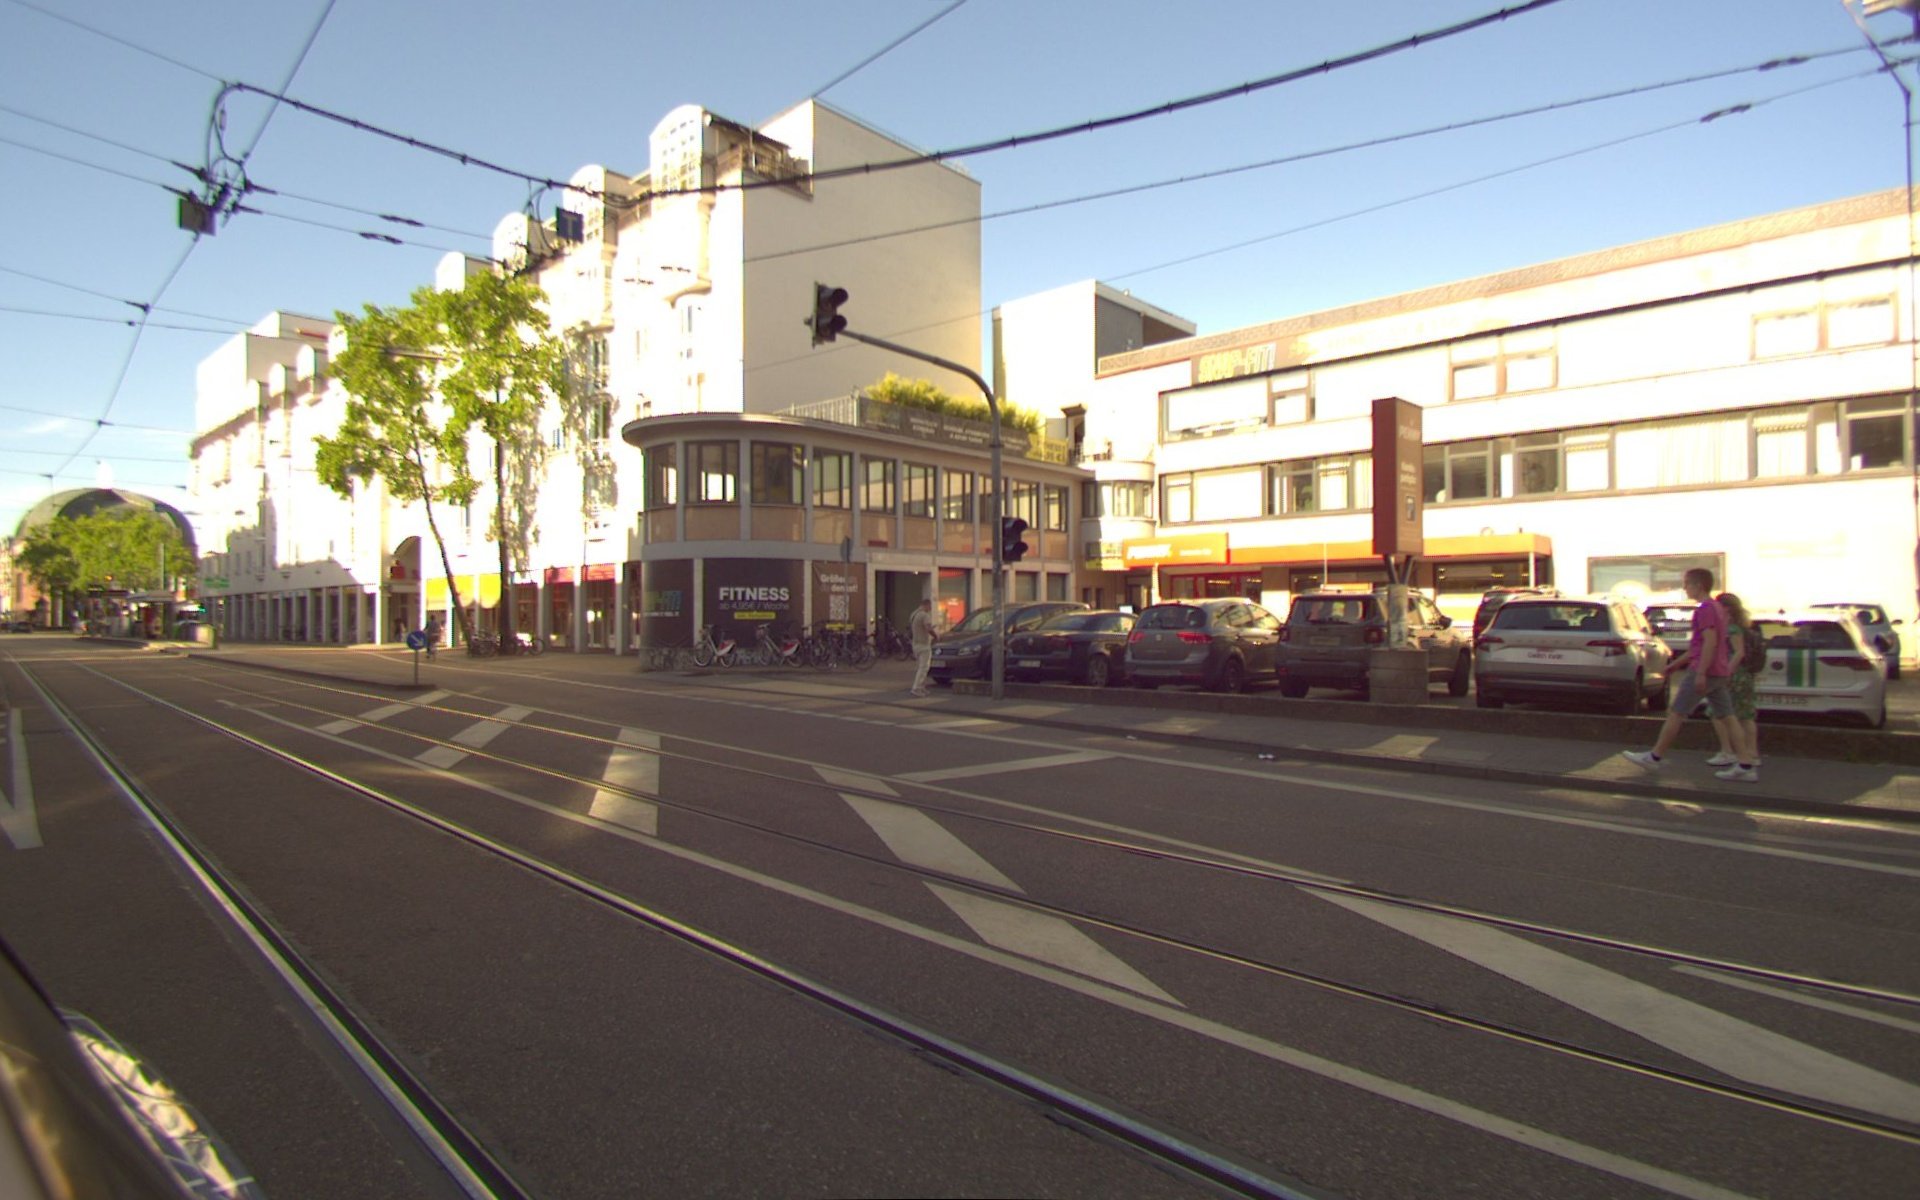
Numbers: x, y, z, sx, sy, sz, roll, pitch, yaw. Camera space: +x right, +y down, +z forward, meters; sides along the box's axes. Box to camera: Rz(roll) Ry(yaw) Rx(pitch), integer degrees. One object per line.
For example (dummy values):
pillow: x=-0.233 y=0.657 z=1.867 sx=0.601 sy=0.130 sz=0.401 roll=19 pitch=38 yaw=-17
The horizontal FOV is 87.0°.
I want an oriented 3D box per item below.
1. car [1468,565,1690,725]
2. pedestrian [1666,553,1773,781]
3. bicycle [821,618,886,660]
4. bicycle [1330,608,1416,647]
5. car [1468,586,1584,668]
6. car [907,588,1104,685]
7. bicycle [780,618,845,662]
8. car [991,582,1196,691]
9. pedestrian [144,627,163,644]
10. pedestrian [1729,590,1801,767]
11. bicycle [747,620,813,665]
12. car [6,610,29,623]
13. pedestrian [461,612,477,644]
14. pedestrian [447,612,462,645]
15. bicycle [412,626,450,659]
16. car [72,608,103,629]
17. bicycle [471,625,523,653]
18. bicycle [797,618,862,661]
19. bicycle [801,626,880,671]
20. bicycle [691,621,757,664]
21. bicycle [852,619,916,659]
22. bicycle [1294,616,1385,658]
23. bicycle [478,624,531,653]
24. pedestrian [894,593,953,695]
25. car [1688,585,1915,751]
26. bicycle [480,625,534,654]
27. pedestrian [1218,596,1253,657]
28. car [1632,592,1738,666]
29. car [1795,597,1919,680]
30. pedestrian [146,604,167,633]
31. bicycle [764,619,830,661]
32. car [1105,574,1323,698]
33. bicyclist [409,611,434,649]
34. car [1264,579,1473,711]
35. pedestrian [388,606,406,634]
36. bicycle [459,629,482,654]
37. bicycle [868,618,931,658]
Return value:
car: x=8.478 y=0.542 z=13.695 sx=1.785 sy=1.825 sz=4.187 roll=2 pitch=0 yaw=42
pedestrian: x=6.913 y=0.584 z=9.213 sx=0.709 sy=1.961 sz=0.631 roll=-1 pitch=-1 yaw=41
bicycle: x=-2.850 y=1.033 z=27.025 sx=1.874 sy=1.085 sz=0.459 roll=-1 pitch=-1 yaw=34
bicycle: x=10.934 y=0.718 z=26.835 sx=2.061 sy=1.022 sz=0.499 roll=-1 pitch=-1 yaw=40
car: x=13.203 y=0.598 z=23.528 sx=1.695 sy=1.762 sz=3.541 roll=-1 pitch=-1 yaw=40
car: x=1.022 y=0.674 z=20.830 sx=1.785 sy=1.777 sz=4.188 roll=-1 pitch=0 yaw=42
bicycle: x=-3.798 y=1.020 z=25.990 sx=1.875 sy=1.095 sz=0.459 roll=-1 pitch=-1 yaw=35
car: x=2.623 y=0.629 z=19.164 sx=1.785 sy=1.825 sz=4.188 roll=-1 pitch=-1 yaw=42
pedestrian: x=-48.747 y=2.116 z=61.177 sx=0.747 sy=0.996 sz=0.784 roll=-1 pitch=-1 yaw=43
pedestrian: x=7.731 y=0.727 z=9.721 sx=0.499 sy=1.629 sz=0.566 roll=-1 pitch=-1 yaw=41
bicycle: x=-4.496 y=1.044 z=25.217 sx=1.875 sy=1.088 sz=0.459 roll=-1 pitch=-1 yaw=35
car: x=-121.846 y=2.170 z=130.838 sx=4.000 sy=1.630 sz=1.972 roll=-2 pitch=-1 yaw=43
pedestrian: x=-25.167 y=1.434 z=51.868 sx=0.523 sy=1.657 sz=0.556 roll=-1 pitch=-1 yaw=43
pedestrian: x=-25.610 y=1.445 z=51.278 sx=0.523 sy=1.657 sz=0.556 roll=-1 pitch=-1 yaw=43
bicycle: x=-19.256 y=1.542 z=36.814 sx=2.003 sy=1.132 sz=0.557 roll=-1 pitch=1 yaw=42
car: x=-88.551 y=1.883 z=102.674 sx=3.998 sy=2.029 sz=1.860 roll=-3 pitch=-1 yaw=41
bicycle: x=-18.470 y=1.539 z=40.399 sx=1.849 sy=1.085 sz=0.465 roll=1 pitch=-1 yaw=-39
bicycle: x=-3.412 y=1.022 z=26.456 sx=1.875 sy=1.085 sz=0.459 roll=-1 pitch=-1 yaw=35
bicycle: x=-2.884 y=1.158 z=24.488 sx=1.847 sy=1.044 sz=0.427 roll=0 pitch=-1 yaw=-22
bicycle: x=-5.973 y=1.058 z=25.593 sx=1.875 sy=1.044 sz=0.519 roll=-1 pitch=-1 yaw=35
bicycle: x=-2.110 y=1.061 z=27.907 sx=1.874 sy=1.085 sz=0.459 roll=-1 pitch=-1 yaw=34
bicycle: x=9.467 y=0.906 z=25.305 sx=2.061 sy=1.022 sz=0.504 roll=-1 pitch=-1 yaw=40
bicycle: x=-17.820 y=1.510 z=39.602 sx=1.849 sy=1.085 sz=0.465 roll=1 pitch=-1 yaw=-39
pedestrian: x=-0.648 y=0.775 z=18.143 sx=0.778 sy=1.777 sz=0.707 roll=-1 pitch=-1 yaw=36
car: x=10.077 y=0.684 z=12.065 sx=1.785 sy=1.621 sz=4.188 roll=-1 pitch=-1 yaw=42
bicycle: x=-17.536 y=1.501 z=39.164 sx=1.849 sy=1.085 sz=0.465 roll=1 pitch=-1 yaw=-39
pedestrian: x=7.528 y=0.714 z=27.623 sx=0.691 sy=1.646 sz=0.631 roll=-1 pitch=-2 yaw=42
car: x=16.210 y=0.628 z=22.566 sx=1.626 sy=1.493 sz=3.599 roll=2 pitch=0 yaw=40
car: x=17.798 y=0.710 z=20.188 sx=1.695 sy=1.490 sz=3.541 roll=-1 pitch=-1 yaw=40
pedestrian: x=-46.066 y=1.073 z=58.022 sx=0.748 sy=1.657 sz=0.784 roll=2 pitch=0 yaw=43
bicycle: x=-4.135 y=1.005 z=25.616 sx=1.875 sy=1.044 sz=0.459 roll=-1 pitch=-1 yaw=35
car: x=4.390 y=0.548 z=17.075 sx=1.785 sy=1.825 sz=4.187 roll=-1 pitch=-1 yaw=43
bicyclist: x=-19.551 y=1.086 z=36.742 sx=0.718 sy=1.372 sz=0.556 roll=0 pitch=-1 yaw=41
car: x=6.364 y=0.590 z=15.591 sx=1.785 sy=1.685 sz=3.650 roll=-1 pitch=1 yaw=43
pedestrian: x=-33.288 y=1.195 z=59.824 sx=0.731 sy=1.657 sz=0.737 roll=-1 pitch=-1 yaw=43
bicycle: x=-18.919 y=1.595 z=39.107 sx=0.463 sy=0.939 sz=1.757 roll=0 pitch=-1 yaw=-38
bicycle: x=-1.699 y=1.047 z=28.335 sx=1.874 sy=1.085 sz=0.459 roll=-1 pitch=-1 yaw=34
